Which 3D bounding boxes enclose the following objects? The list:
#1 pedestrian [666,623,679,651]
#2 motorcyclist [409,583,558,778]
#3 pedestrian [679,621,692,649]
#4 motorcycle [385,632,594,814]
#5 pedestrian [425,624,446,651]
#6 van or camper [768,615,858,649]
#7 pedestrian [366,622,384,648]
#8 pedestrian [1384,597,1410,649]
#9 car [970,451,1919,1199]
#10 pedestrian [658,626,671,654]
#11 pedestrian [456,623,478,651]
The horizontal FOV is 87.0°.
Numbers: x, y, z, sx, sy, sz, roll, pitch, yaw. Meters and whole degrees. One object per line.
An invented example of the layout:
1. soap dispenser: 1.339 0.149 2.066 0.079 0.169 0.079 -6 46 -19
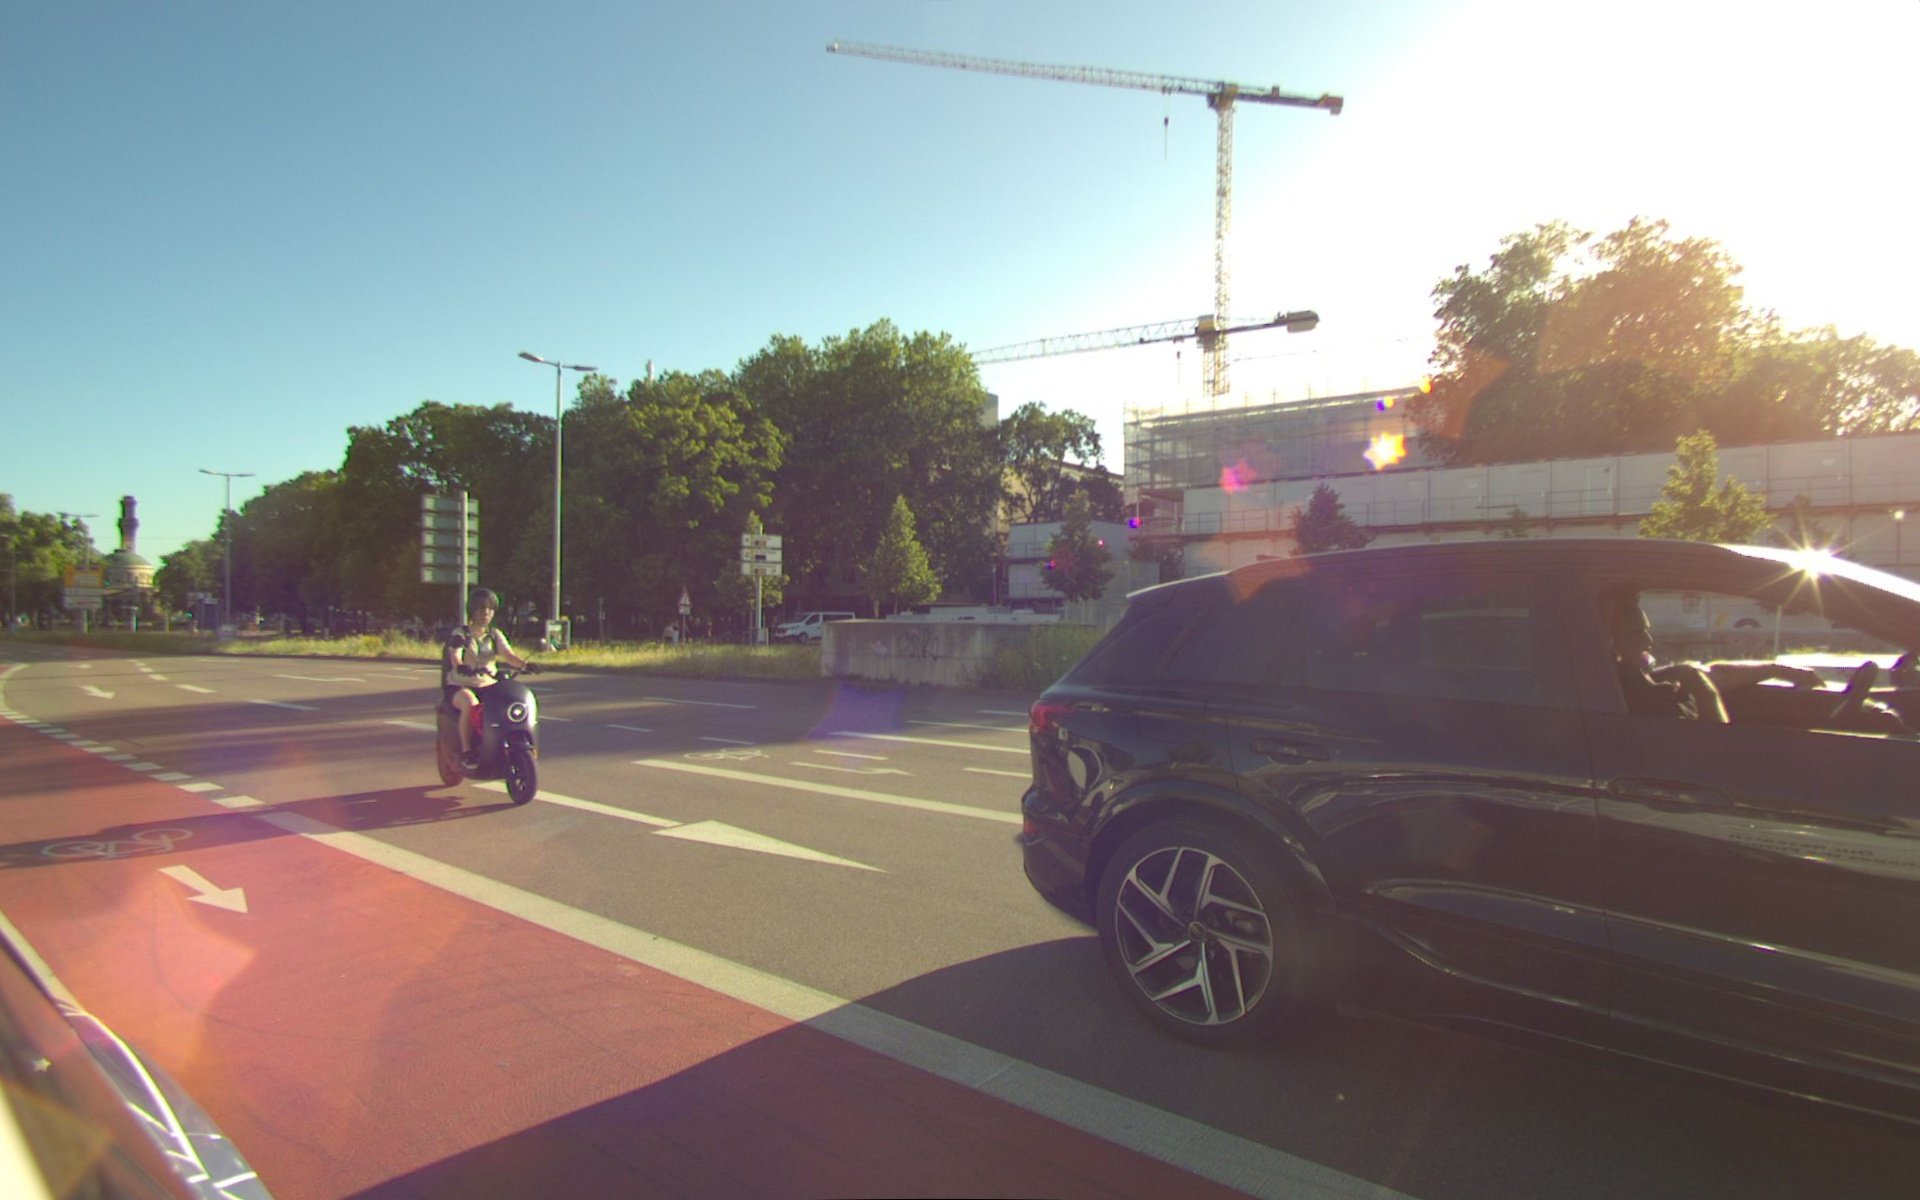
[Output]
1. pedestrian: -15.769 2.022 55.529 0.494 1.522 0.492 -1 -2 41
2. motorcyclist: -3.889 0.623 8.263 0.877 1.475 0.813 -1 -2 41
3. pedestrian: -15.282 1.931 56.269 0.494 1.522 0.492 -1 -2 41
4. motorcycle: -3.849 0.907 8.204 1.943 1.290 0.817 -1 -2 41
5. pedestrian: -38.817 2.755 74.843 1.054 1.978 0.942 -1 0 26
6. van or camper: -8.950 1.926 61.897 1.951 1.960 5.425 -2 -2 44
7. pedestrian: -47.253 2.826 81.711 0.946 2.029 0.838 -1 0 10
8. pedestrian: 13.564 0.706 31.427 0.597 1.614 0.580 -1 0 38
9. car: 2.515 0.549 3.219 4.659 1.720 2.144 -1 -1 39
10. pedestrian: -16.033 2.179 54.904 0.494 1.522 0.492 -1 -2 41
11. pedestrian: -34.870 2.604 71.568 0.815 1.978 1.111 -1 0 41
